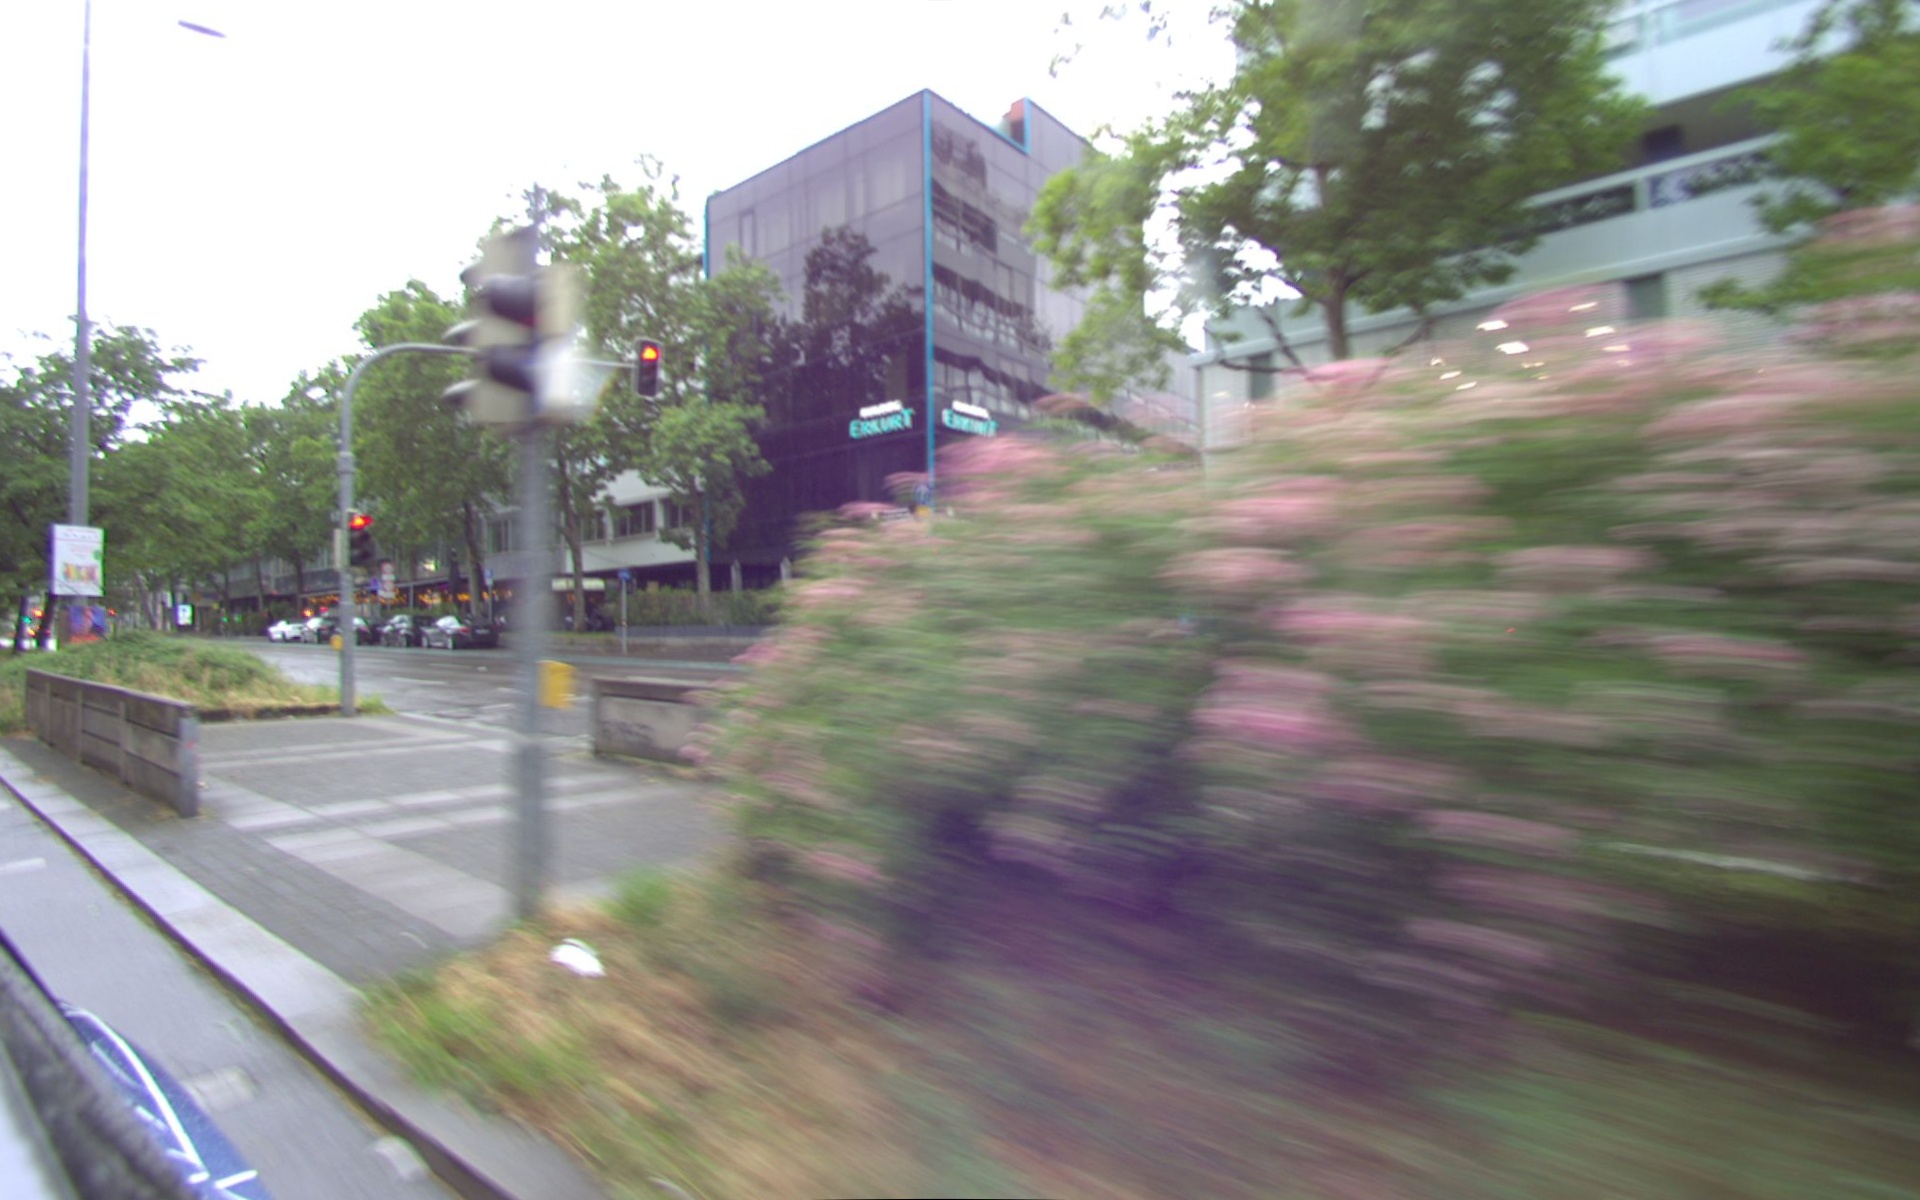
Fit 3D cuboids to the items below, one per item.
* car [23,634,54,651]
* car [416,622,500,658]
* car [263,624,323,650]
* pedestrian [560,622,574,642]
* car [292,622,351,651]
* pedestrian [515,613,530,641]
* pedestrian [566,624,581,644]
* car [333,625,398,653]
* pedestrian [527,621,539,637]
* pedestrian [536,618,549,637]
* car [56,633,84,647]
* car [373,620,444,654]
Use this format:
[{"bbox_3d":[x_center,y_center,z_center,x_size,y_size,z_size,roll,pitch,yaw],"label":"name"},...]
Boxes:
[{"bbox_3d":[-93.744,4.275,102.926,3.725,1.586,1.758,-1,1,40],"label":"car"},{"bbox_3d":[-21.792,1.680,43.844,4.538,1.396,1.850,-1,1,44],"label":"car"},{"bbox_3d":[-39.020,2.130,59.185,4.390,1.336,1.857,-1,1,41],"label":"car"},{"bbox_3d":[-20.437,1.678,52.628,0.461,1.000,0.455,-1,0,25],"label":"pedestrian"},{"bbox_3d":[-34.981,1.972,55.451,3.787,1.464,1.728,-1,1,41],"label":"car"},{"bbox_3d":[-26.869,1.648,62.121,0.623,1.660,0.599,-1,0,36],"label":"pedestrian"},{"bbox_3d":[-19.974,1.743,52.295,0.488,1.008,0.481,-1,0,25],"label":"pedestrian"},{"bbox_3d":[-30.159,1.957,51.312,4.318,1.249,1.626,-1,1,42],"label":"car"},{"bbox_3d":[-23.418,1.564,55.551,0.433,0.856,0.435,-1,0,38],"label":"pedestrian"},{"bbox_3d":[-22.497,1.479,54.522,0.423,1.024,0.459,-1,0,38],"label":"pedestrian"},{"bbox_3d":[-95.340,4.280,108.390,3.736,1.335,1.743,-1,1,41],"label":"car"},{"bbox_3d":[-25.806,1.700,47.333,3.399,1.433,1.851,-1,1,41],"label":"car"}]
